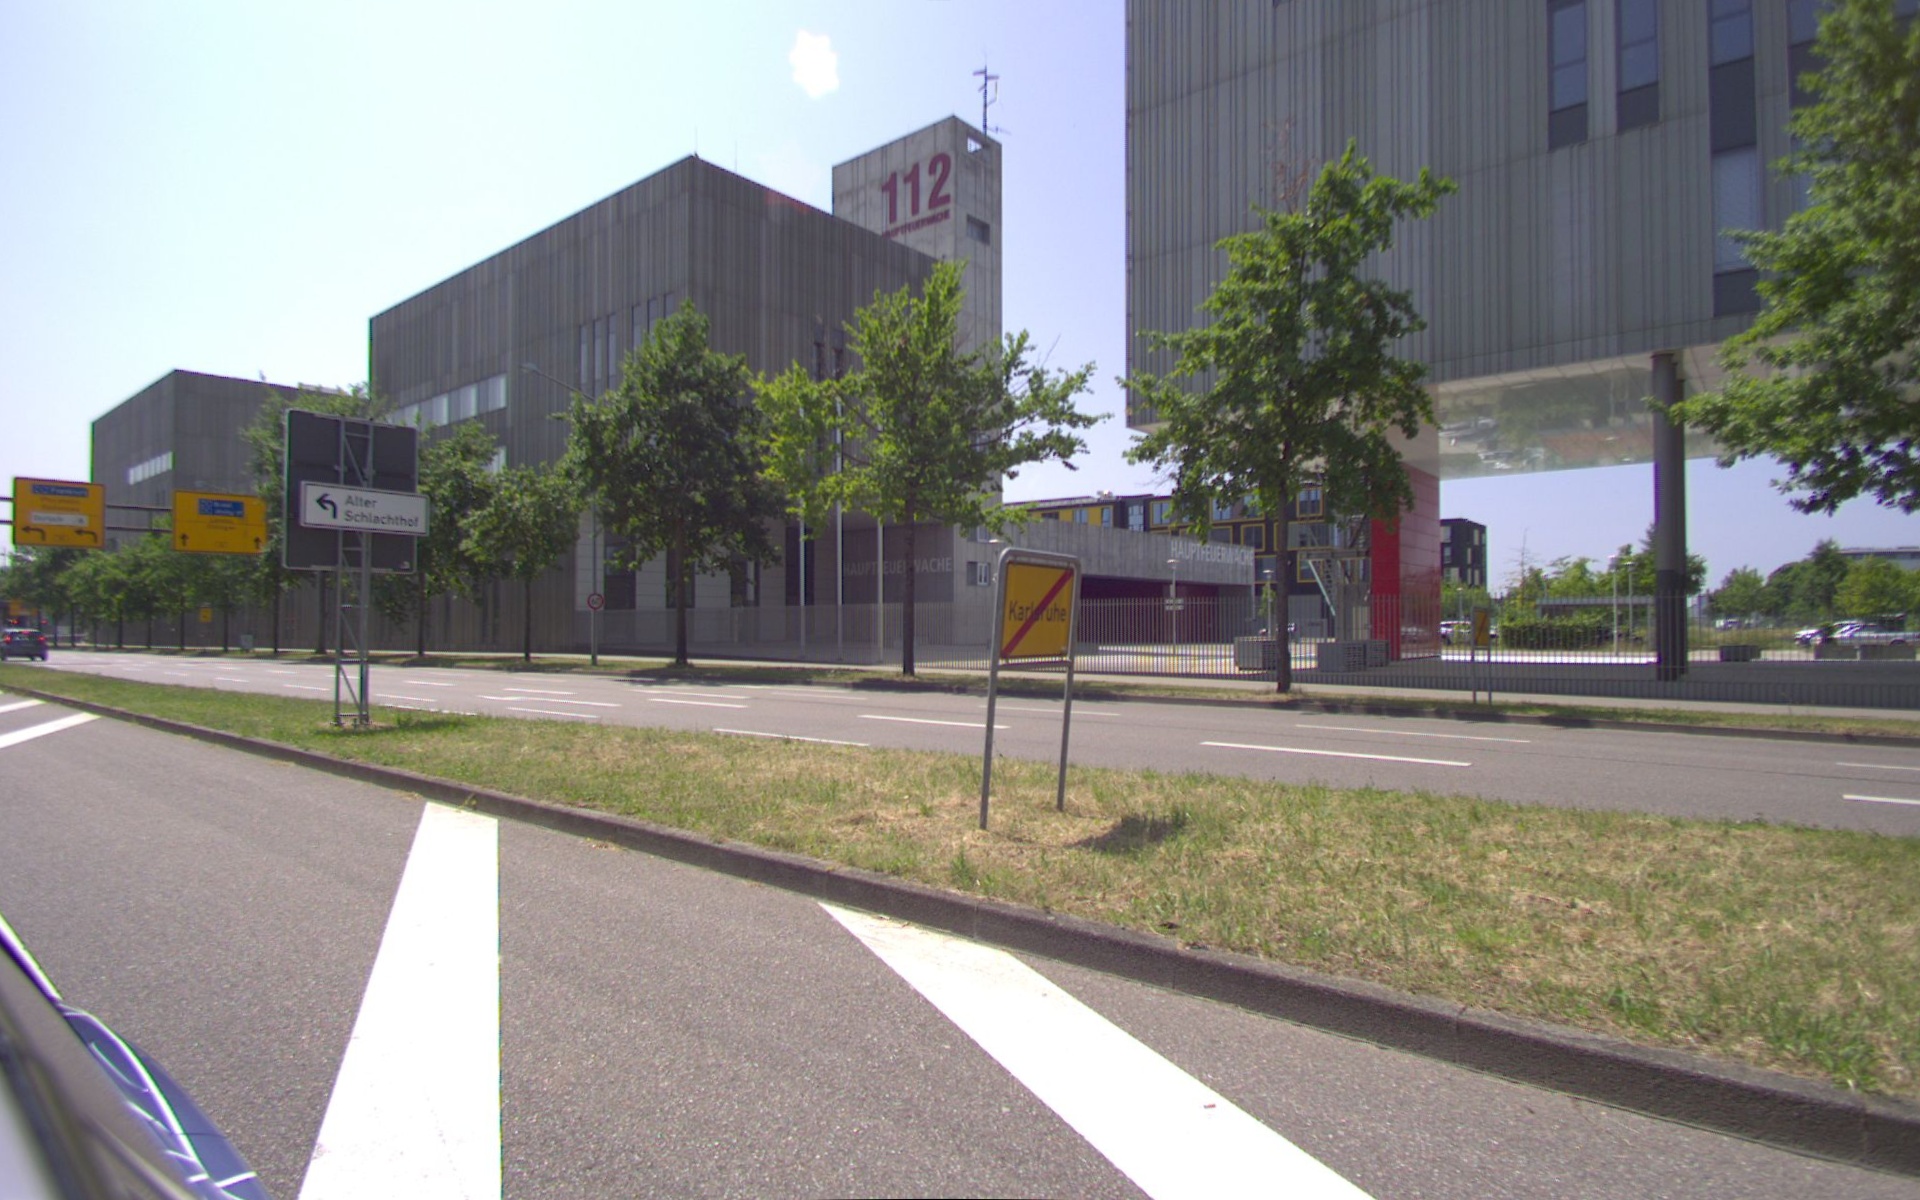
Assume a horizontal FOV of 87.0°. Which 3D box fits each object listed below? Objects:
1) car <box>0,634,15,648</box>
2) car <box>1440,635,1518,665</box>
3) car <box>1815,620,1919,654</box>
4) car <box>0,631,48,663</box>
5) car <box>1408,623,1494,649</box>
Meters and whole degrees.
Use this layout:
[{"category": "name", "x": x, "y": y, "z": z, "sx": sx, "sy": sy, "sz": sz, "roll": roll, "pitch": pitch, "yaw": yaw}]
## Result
[{"category": "car", "x": -101.498, "y": 4.298, "z": 107.206, "sx": 4.015, "sy": 1.467, "sz": 1.604, "roll": -2, "pitch": -2, "yaw": 41}, {"category": "car", "x": 30.663, "y": 2.914, "z": 59.853, "sx": 3.773, "sy": 1.709, "sz": 1.639, "roll": -2, "pitch": -2, "yaw": 42}, {"category": "car", "x": 45.072, "y": 1.815, "z": 49.712, "sx": 4.525, "sy": 1.594, "sz": 2.000, "roll": -2, "pitch": -2, "yaw": 45}, {"category": "car", "x": -45.100, "y": 2.234, "z": 48.301, "sx": 3.936, "sy": 1.483, "sz": 1.691, "roll": -2, "pitch": -3, "yaw": 38}, {"category": "car", "x": 27.738, "y": 1.998, "z": 57.225, "sx": 3.998, "sy": 1.397, "sz": 1.972, "roll": -2, "pitch": -2, "yaw": 42}]
